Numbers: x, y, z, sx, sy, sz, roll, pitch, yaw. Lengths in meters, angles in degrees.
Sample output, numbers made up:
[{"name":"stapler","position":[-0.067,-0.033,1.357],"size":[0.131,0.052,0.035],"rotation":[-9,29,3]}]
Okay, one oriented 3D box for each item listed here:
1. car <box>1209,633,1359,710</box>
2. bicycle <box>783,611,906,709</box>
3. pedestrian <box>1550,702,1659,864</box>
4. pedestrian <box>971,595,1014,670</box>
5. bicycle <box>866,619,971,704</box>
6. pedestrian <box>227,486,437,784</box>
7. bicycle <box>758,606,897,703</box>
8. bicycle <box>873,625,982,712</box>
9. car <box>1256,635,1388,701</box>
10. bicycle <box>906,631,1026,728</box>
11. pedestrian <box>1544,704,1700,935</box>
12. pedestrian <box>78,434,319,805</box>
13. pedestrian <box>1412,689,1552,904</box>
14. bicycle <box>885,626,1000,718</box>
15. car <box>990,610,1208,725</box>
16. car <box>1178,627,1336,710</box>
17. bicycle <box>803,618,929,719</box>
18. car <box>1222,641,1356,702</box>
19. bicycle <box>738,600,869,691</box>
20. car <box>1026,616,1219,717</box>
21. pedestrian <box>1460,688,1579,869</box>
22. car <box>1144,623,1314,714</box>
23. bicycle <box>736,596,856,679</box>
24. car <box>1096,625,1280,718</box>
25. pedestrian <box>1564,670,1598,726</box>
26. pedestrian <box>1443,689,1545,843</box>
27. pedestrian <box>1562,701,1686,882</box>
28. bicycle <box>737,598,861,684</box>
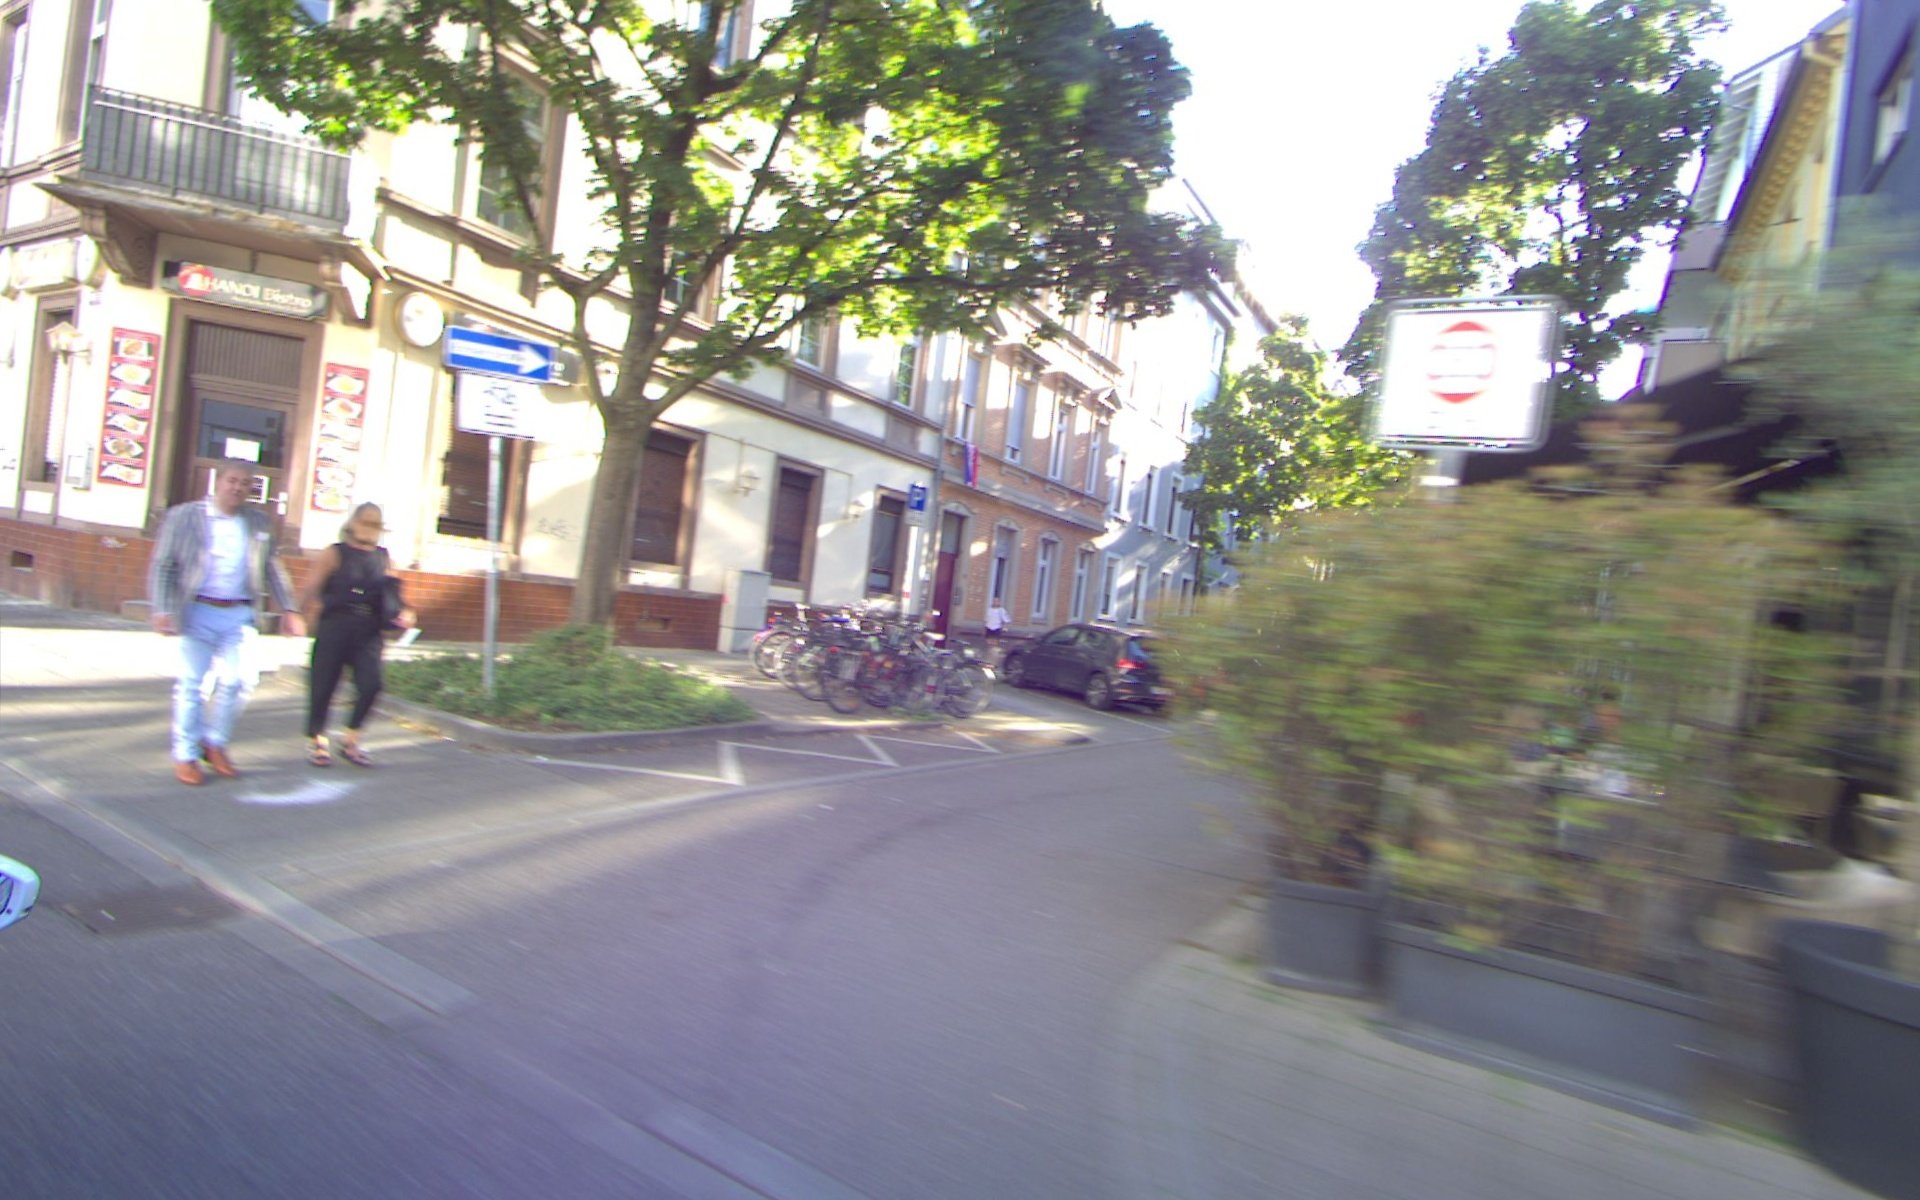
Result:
[{"name":"car","position":[9.824,2.132,30.779],"size":[1.711,1.682,4.049],"rotation":[8,0,-32]},{"name":"bicycle","position":[-1.399,0.738,12.246],"size":[1.311,1.027,0.454],"rotation":[7,2,-32]},{"name":"pedestrian","position":[5.535,1.541,8.674],"size":[0.639,1.219,0.648],"rotation":[8,1,31]},{"name":"pedestrian","position":[0.787,0.781,23.989],"size":[0.638,1.682,0.650],"rotation":[7,1,23]},{"name":"bicycle","position":[-0.595,0.881,14.361],"size":[1.308,1.027,0.455],"rotation":[8,2,-25]},{"name":"pedestrian","position":[-3.802,0.188,6.104],"size":[0.759,1.625,0.713],"rotation":[8,4,28]},{"name":"bicycle","position":[-1.688,0.705,12.902],"size":[1.598,1.027,0.455],"rotation":[8,2,-25]},{"name":"bicycle","position":[-0.438,0.940,13.771],"size":[1.308,1.027,0.455],"rotation":[8,2,-25]},{"name":"car","position":[12.840,2.374,35.923],"size":[1.711,1.682,4.049],"rotation":[8,0,-32]},{"name":"bicycle","position":[0.081,0.989,12.470],"size":[1.308,1.027,0.455],"rotation":[8,2,-25]},{"name":"pedestrian","position":[4.056,1.307,6.210],"size":[0.639,1.219,0.648],"rotation":[8,1,31]},{"name":"pedestrian","position":[-4.093,0.081,5.419],"size":[0.759,1.799,0.713],"rotation":[8,4,28]},{"name":"pedestrian","position":[3.421,1.236,6.578],"size":[0.639,1.219,0.648],"rotation":[8,1,31]},{"name":"bicycle","position":[-0.227,0.946,13.163],"size":[1.308,1.027,0.455],"rotation":[8,2,-25]},{"name":"car","position":[2.478,1.189,18.908],"size":[1.711,1.481,4.049],"rotation":[9,0,-32]},{"name":"car","position":[8.413,1.917,28.830],"size":[1.711,1.682,4.049],"rotation":[8,0,-32]},{"name":"bicycle","position":[-1.071,0.806,11.595],"size":[1.315,1.027,0.453],"rotation":[7,2,-40]},{"name":"car","position":[11.014,2.370,33.910],"size":[1.783,1.354,3.965],"rotation":[9,0,-32]},{"name":"bicycle","position":[-2.127,0.626,13.744],"size":[1.598,1.027,0.455],"rotation":[8,2,-25]},{"name":"car","position":[3.371,1.365,21.620],"size":[1.711,1.481,4.049],"rotation":[9,0,-32]},{"name":"pedestrian","position":[4.300,1.333,7.732],"size":[0.639,1.219,0.648],"rotation":[8,1,31]},{"name":"car","position":[6.932,1.739,26.314],"size":[1.711,1.682,4.049],"rotation":[8,0,-32]},{"name":"bicycle","position":[-2.439,0.572,15.016],"size":[1.598,1.027,0.455],"rotation":[8,2,-25]},{"name":"car","position":[5.260,1.626,23.675],"size":[1.711,1.481,4.049],"rotation":[9,0,-32]},{"name":"pedestrian","position":[19.465,3.058,31.529],"size":[0.638,1.682,0.650],"rotation":[7,1,24]},{"name":"pedestrian","position":[4.794,1.456,9.026],"size":[0.639,1.219,0.648],"rotation":[8,1,31]},{"name":"pedestrian","position":[5.099,1.440,7.769],"size":[0.639,1.219,0.648],"rotation":[8,1,31]},{"name":"bicycle","position":[-2.307,0.602,14.489],"size":[1.598,1.027,0.455],"rotation":[8,2,-25]}]
